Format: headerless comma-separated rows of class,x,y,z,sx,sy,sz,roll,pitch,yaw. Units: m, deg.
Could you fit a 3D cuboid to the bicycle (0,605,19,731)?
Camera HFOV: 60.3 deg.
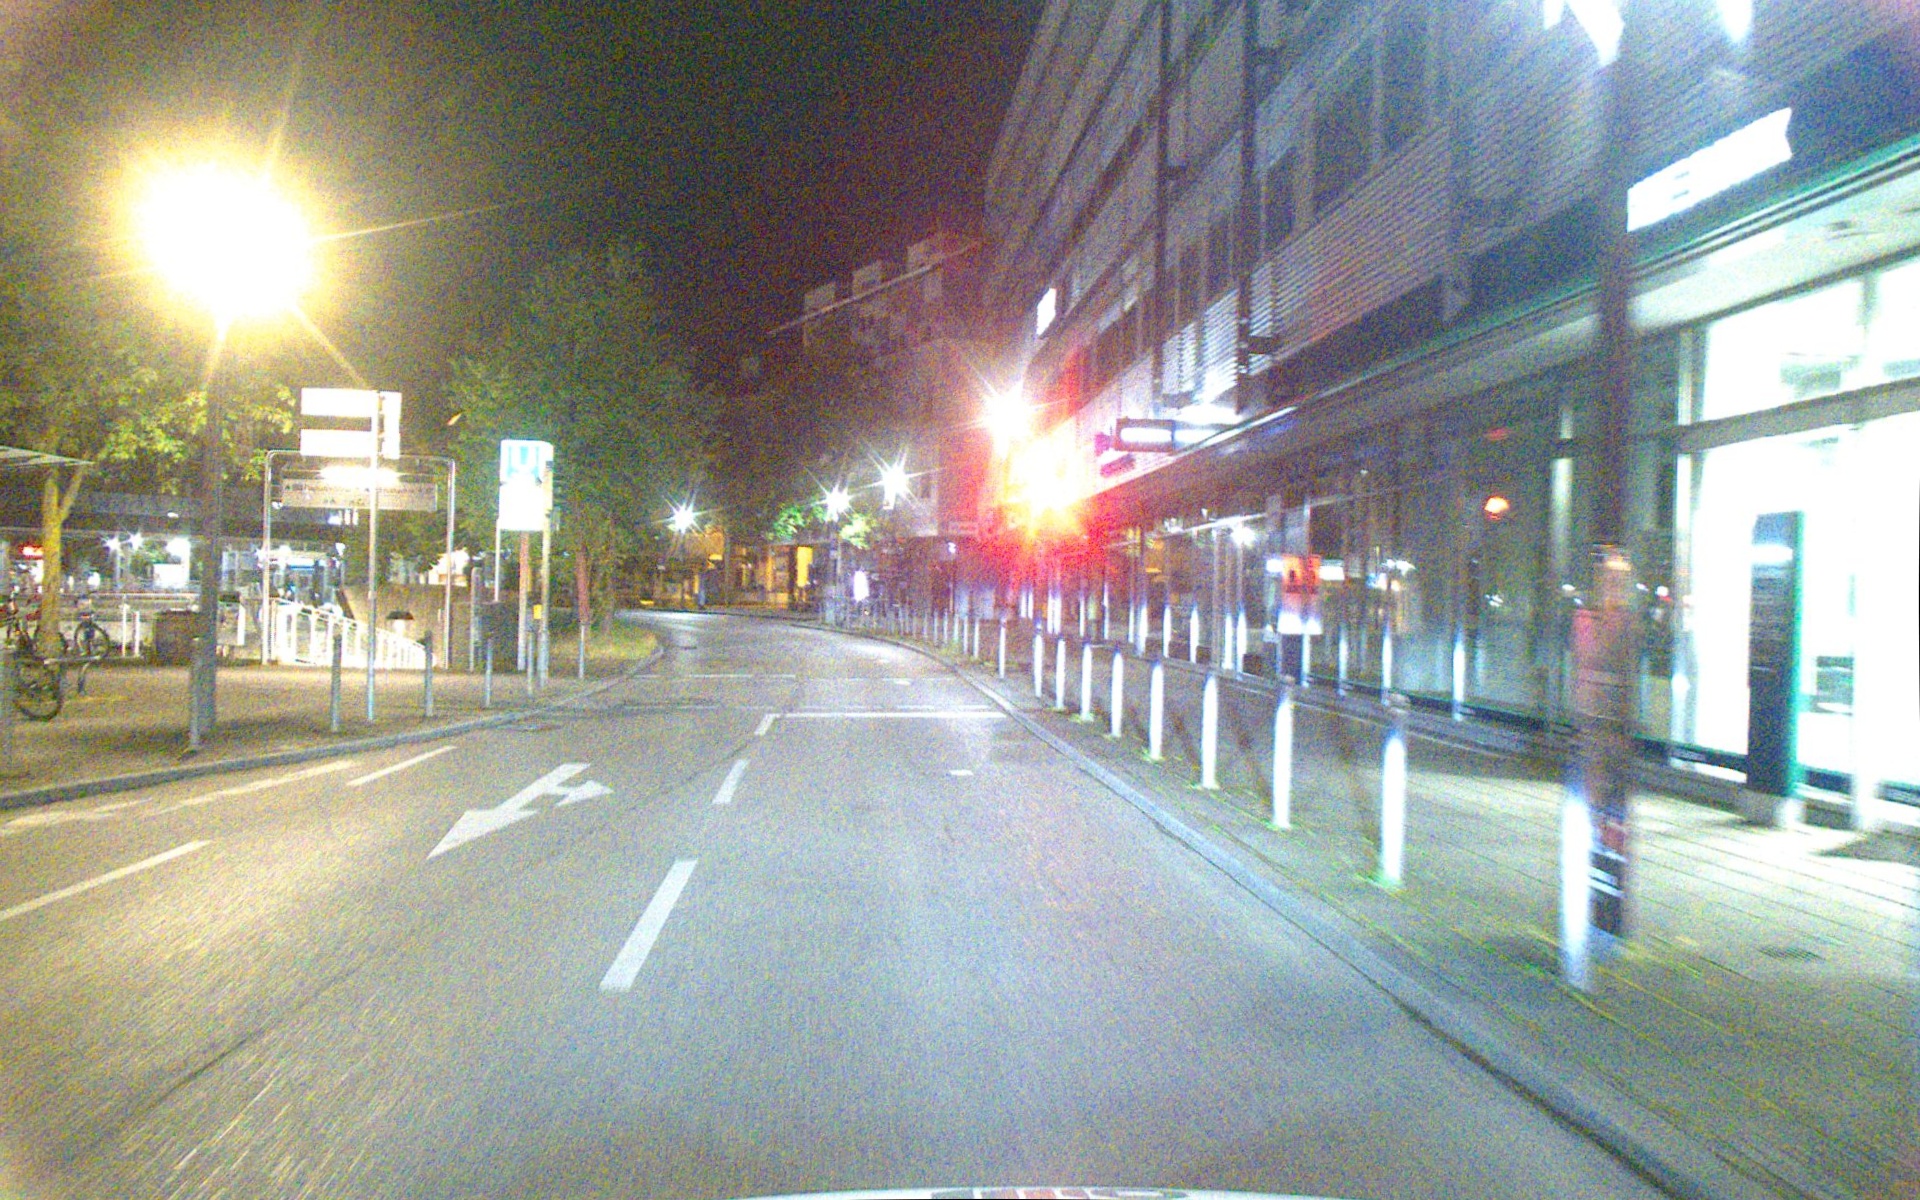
bicycle,-9.331,0.590,14.639,1.584,1.125,0.670,1,-1,-4

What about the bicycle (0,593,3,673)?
bicycle,-15.152,0.486,25.429,0.602,1.186,1.725,-1,2,-35

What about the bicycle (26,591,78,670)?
bicycle,-14.510,0.464,26.416,0.539,1.174,1.725,-1,2,-35

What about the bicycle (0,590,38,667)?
bicycle,-15.435,0.444,26.894,0.602,1.186,1.725,-1,2,-35

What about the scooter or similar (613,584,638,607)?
scooter or similar,-19.328,-0.245,95.512,1.234,1.248,0.592,2,0,-31

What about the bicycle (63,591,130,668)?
bicycle,-14.245,0.463,27.255,0.753,1.182,1.725,-1,2,-35

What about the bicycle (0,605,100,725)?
bicycle,-9.249,0.608,15.891,1.584,1.125,0.670,1,-1,-4

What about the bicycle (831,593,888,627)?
bicycle,-3.273,0.324,54.051,1.729,1.081,0.649,1,1,-29
